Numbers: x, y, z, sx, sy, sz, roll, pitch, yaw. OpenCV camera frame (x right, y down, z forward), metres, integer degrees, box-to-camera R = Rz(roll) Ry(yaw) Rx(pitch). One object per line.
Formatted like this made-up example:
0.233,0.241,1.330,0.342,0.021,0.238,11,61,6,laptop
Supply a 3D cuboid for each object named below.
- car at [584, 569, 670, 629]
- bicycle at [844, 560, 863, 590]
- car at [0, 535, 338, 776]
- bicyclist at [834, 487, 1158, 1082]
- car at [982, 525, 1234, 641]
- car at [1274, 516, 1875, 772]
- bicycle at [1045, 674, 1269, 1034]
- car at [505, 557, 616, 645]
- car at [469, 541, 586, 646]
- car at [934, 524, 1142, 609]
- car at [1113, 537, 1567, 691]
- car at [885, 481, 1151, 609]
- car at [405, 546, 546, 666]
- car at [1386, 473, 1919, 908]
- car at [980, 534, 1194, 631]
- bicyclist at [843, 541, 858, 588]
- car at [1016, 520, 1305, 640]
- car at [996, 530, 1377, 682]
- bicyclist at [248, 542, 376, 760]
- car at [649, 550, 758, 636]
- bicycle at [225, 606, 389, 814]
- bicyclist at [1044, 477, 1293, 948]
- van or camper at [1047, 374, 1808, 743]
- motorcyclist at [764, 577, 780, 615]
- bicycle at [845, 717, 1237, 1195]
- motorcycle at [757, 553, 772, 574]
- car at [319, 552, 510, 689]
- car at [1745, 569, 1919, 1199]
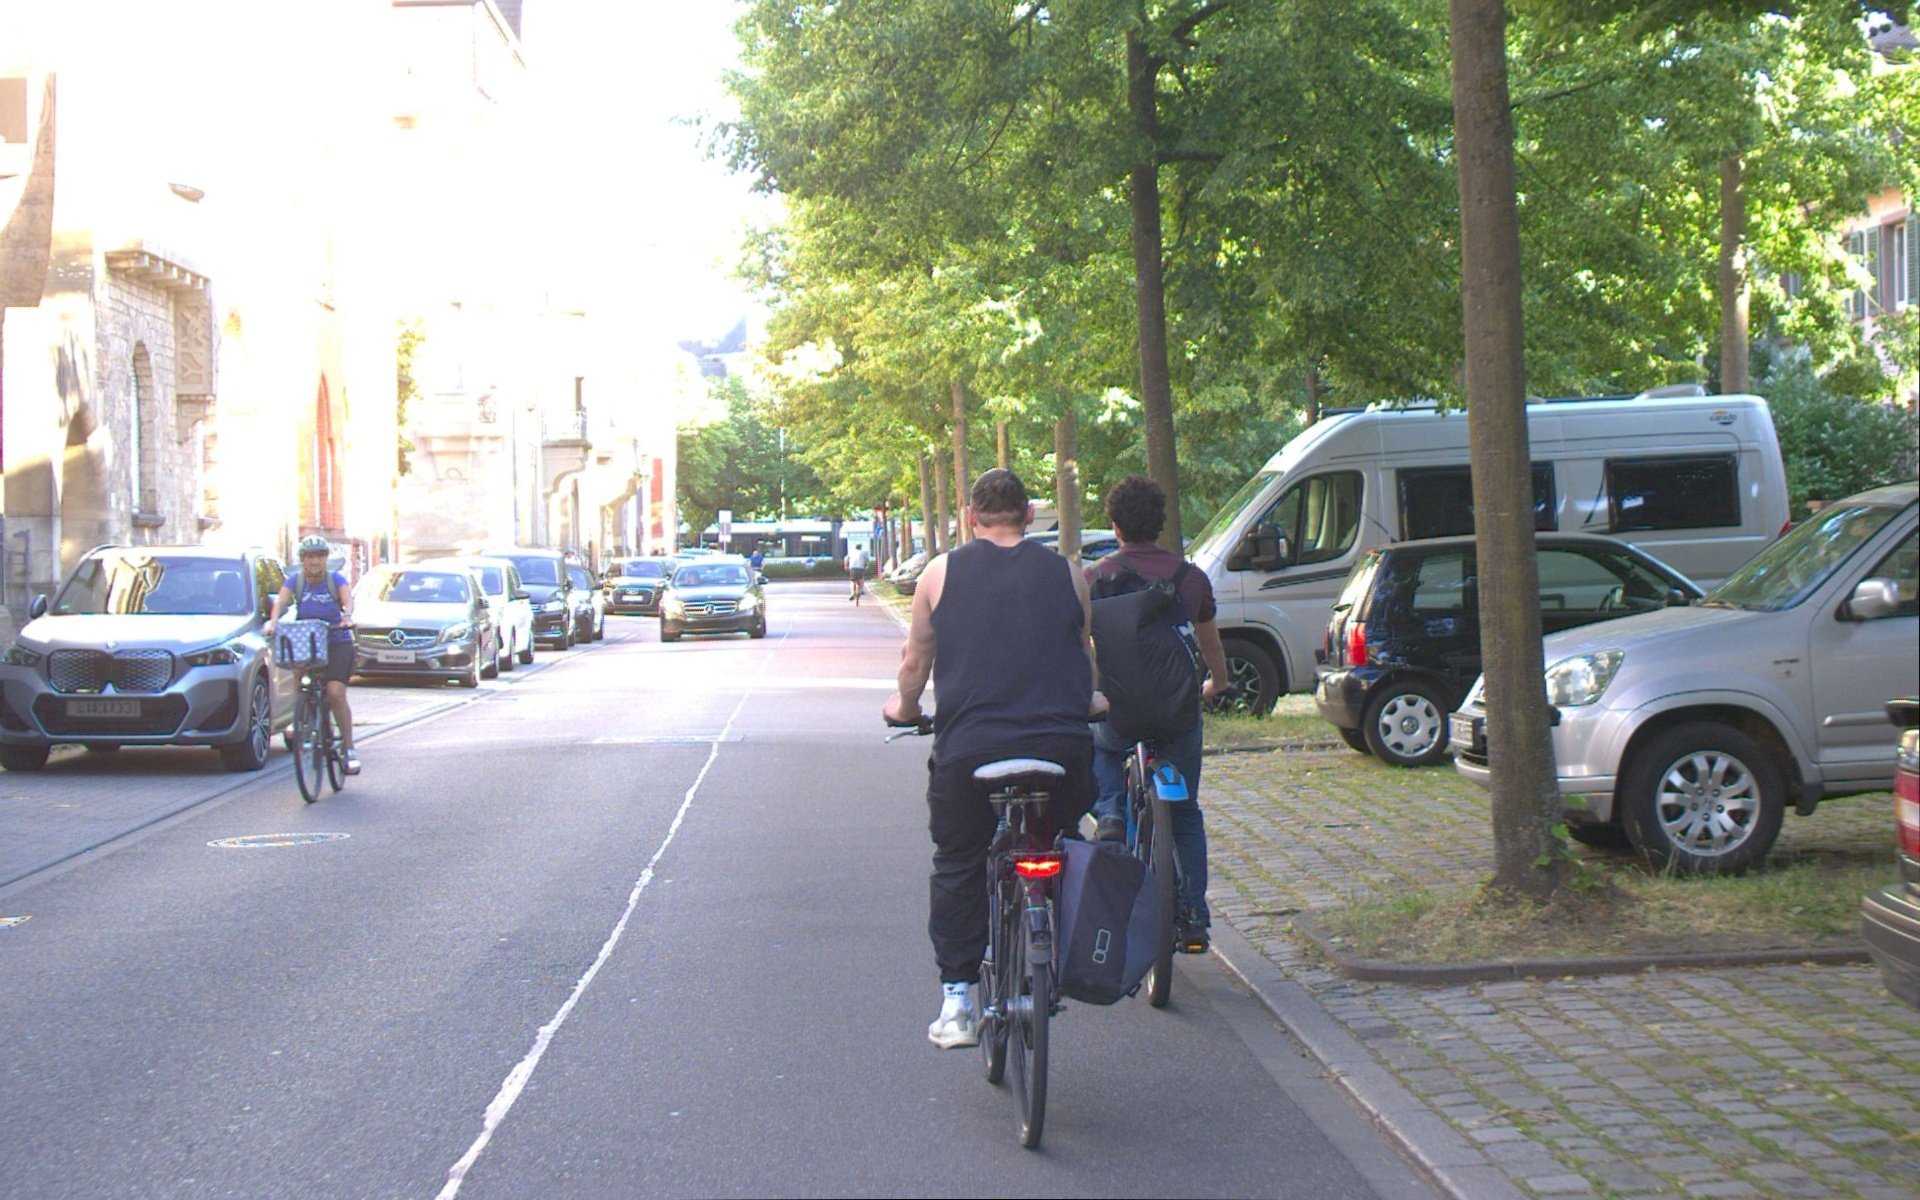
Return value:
-8.510,-0.022,88.132,1.993,1.481,4.000,-1,0,-3,car
-3.039,-0.703,98.188,0.541,0.825,1.919,-1,0,-2,bicycle
-5.942,0.390,25.711,2.049,1.616,4.396,-1,0,-4,car
0.077,0.475,9.362,0.706,1.521,0.972,-1,0,-9,bicyclist
2.553,-0.296,60.158,4.243,1.833,1.855,-2,0,-1,car
3.943,0.276,22.449,3.500,1.467,1.752,-2,0,-3,car
0.651,0.826,11.905,0.555,1.069,1.969,-1,1,-3,bicycle
-7.245,0.010,62.638,1.615,1.477,4.019,3,0,-2,car
-7.156,-0.090,57.167,1.630,1.660,3.969,-1,0,-3,car
1.798,-0.769,80.772,4.757,1.774,1.855,-2,0,-1,car
3.918,0.140,35.994,4.502,1.448,1.816,-2,0,-1,car
1.605,-1.536,97.480,7.332,3.271,2.223,-2,0,-1,car
-6.666,0.073,47.581,1.491,1.512,3.775,3,0,-2,car
4.340,0.275,15.324,4.475,1.664,1.943,-4,2,-3,car
2.574,-0.347,70.632,4.243,1.791,1.855,-2,0,-1,car
-3.125,-1.017,98.222,0.417,1.346,0.430,-1,0,-2,bicyclist
3.044,-0.298,52.759,4.243,1.642,1.855,-2,0,-1,car
2.649,0.070,40.863,4.242,1.600,1.754,-2,0,-5,car
-4.159,0.312,22.122,0.665,1.340,1.060,-2,1,-5,bicyclist
-4.707,-0.117,62.813,1.896,1.481,4.382,-1,0,-5,car
-4.181,0.670,22.191,0.753,1.174,2.621,-2,1,-5,bicycle
0.692,0.366,11.693,0.718,1.521,0.972,-1,0,-3,bicyclist
3.641,-0.322,27.554,5.573,2.528,2.269,-3,0,-4,van or camper
-7.305,-0.147,133.606,0.551,1.443,0.688,-2,1,-4,motorcyclist
0.164,0.881,9.213,0.696,1.069,1.969,-1,0,-9,bicycle
-7.551,-1.424,132.839,0.551,0.798,1.308,-2,1,-4,motorcycle
-6.602,0.229,41.992,1.755,1.512,4.115,3,0,-2,car
4.536,0.528,7.937,4.893,1.437,1.942,-3,0,-4,car
